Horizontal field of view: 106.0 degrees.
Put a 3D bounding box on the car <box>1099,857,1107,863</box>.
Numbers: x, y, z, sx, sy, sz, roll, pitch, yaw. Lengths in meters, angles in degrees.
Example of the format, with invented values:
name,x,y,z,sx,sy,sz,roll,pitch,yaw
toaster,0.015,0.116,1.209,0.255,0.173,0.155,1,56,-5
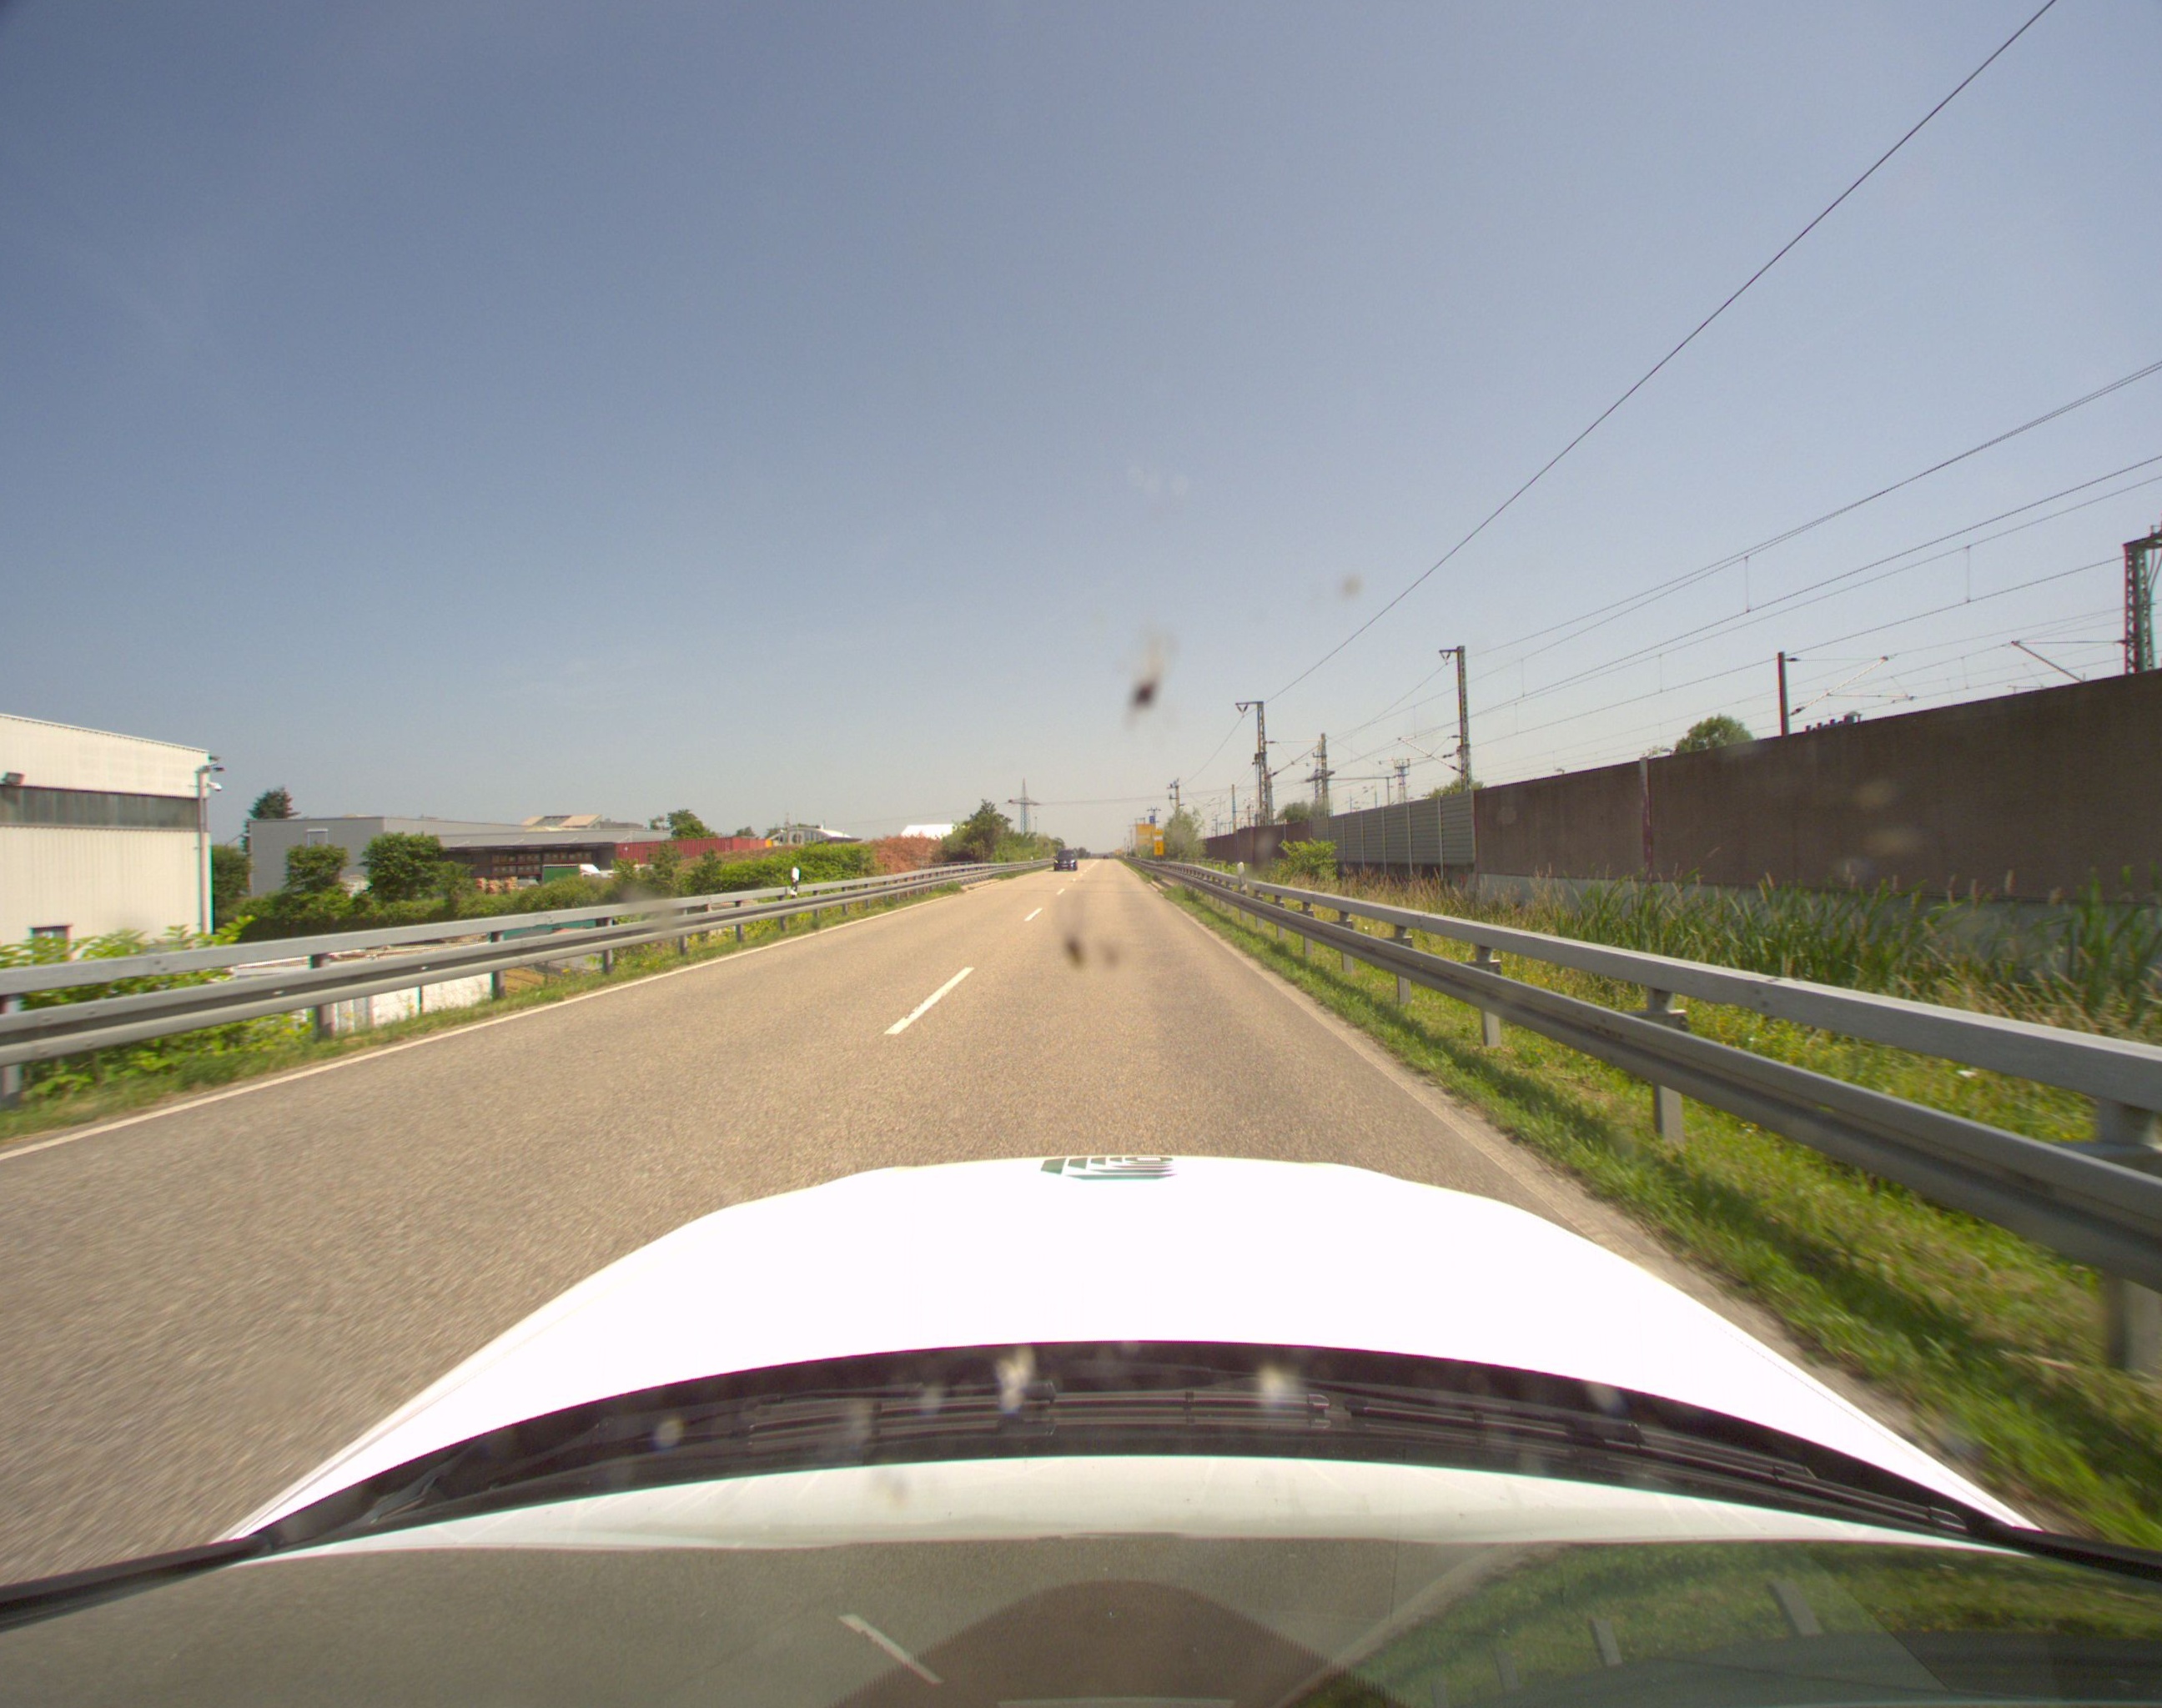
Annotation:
name,x,y,z,sx,sy,sz,roll,pitch,yaw
car,6.972,1.946,258.339,1.988,2.013,3.997,-1,0,-2

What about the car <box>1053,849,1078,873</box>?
name,x,y,z,sx,sy,sz,roll,pitch,yaw
car,-1.307,0.586,71.132,1.886,2.013,5.371,0,0,1

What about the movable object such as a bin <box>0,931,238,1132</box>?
name,x,y,z,sx,sy,sz,roll,pitch,yaw
movable object such as a bin,-14.970,2.327,10.185,5.884,2.019,2.446,-4,0,-4
